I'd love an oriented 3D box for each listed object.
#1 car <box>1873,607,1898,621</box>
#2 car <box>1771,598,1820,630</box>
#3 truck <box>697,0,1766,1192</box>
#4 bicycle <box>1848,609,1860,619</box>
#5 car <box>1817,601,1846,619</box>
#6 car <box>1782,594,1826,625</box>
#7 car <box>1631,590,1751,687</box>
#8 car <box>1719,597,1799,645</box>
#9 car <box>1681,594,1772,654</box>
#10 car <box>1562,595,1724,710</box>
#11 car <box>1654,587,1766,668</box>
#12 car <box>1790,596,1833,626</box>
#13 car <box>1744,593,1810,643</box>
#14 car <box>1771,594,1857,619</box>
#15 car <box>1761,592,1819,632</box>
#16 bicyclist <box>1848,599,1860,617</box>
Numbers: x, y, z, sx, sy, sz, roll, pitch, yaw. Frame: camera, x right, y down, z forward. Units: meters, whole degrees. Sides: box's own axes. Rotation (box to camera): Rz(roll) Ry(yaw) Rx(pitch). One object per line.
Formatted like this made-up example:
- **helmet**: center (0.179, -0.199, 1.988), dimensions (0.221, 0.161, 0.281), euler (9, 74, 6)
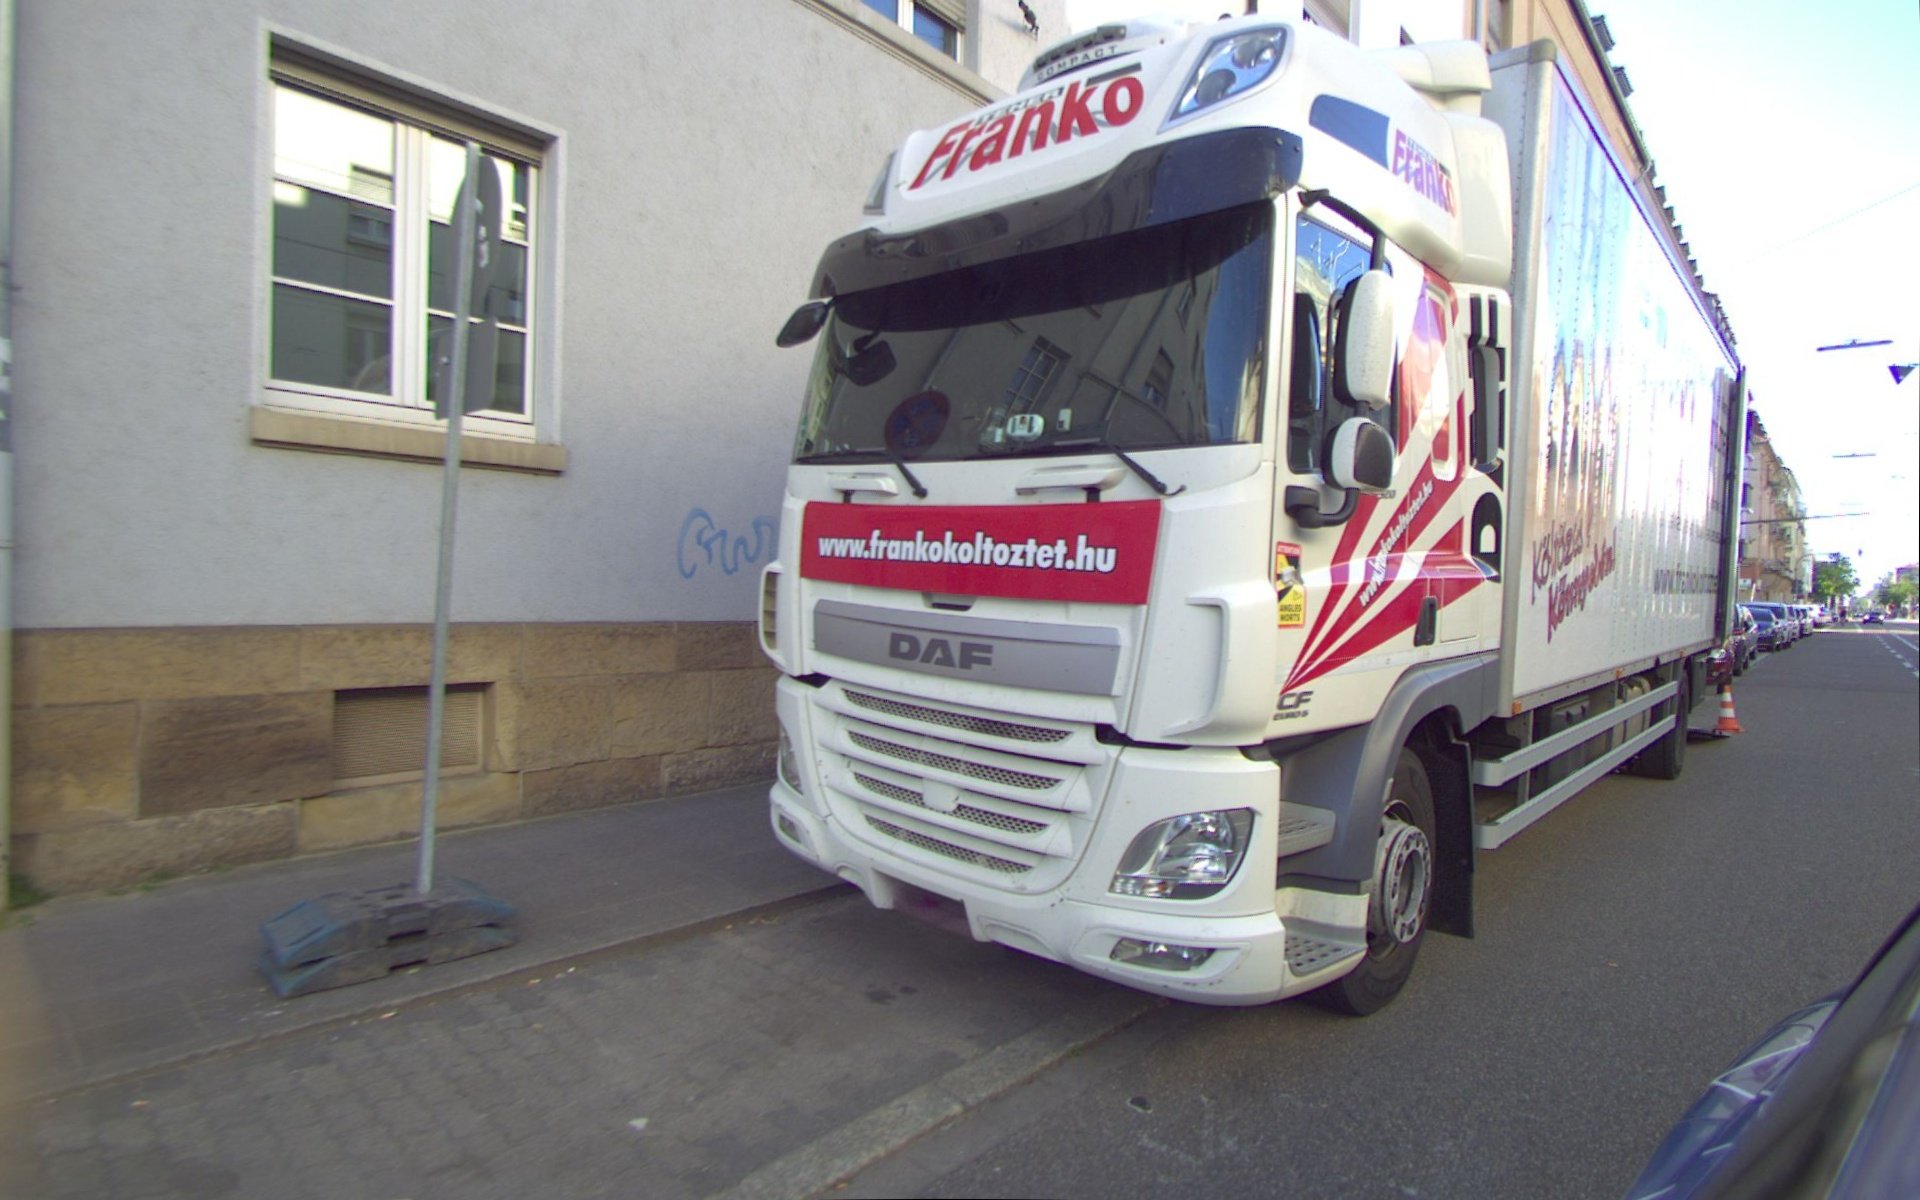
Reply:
- **car**: center (102.906, 1.545, 112.520), dimensions (1.856, 1.394, 3.935), euler (2, 1, 45)
- **car**: center (43.048, 0.683, 52.105), dimensions (1.698, 1.524, 3.803), euler (2, 1, 43)
- **truck**: center (3.823, -0.661, 7.729), dimensions (2.859, 4.124, 11.598), euler (2, 1, 42)
- **bicycle**: center (78.310, 1.230, 88.658), dimensions (0.741, 0.866, 1.857), euler (2, 1, 41)
- **car**: center (86.324, 0.963, 100.246), dimensions (1.993, 1.660, 3.938), euler (3, 2, 42)
- **car**: center (46.511, 0.509, 55.770), dimensions (1.698, 1.610, 3.900), euler (2, 1, 42)
- **car**: center (14.278, 0.660, 19.679), dimensions (1.590, 1.629, 4.186), euler (3, 2, 39)
- **car**: center (27.327, 0.679, 34.568), dimensions (1.700, 1.470, 4.139), euler (3, 2, 44)
- **car**: center (21.027, 0.611, 27.714), dimensions (1.609, 1.481, 3.425), euler (3, 2, 43)
- **car**: center (10.604, 0.708, 15.597), dimensions (1.581, 1.481, 3.823), euler (3, 2, 41)
- **car**: center (17.761, 0.575, 23.900), dimensions (1.788, 1.672, 4.302), euler (3, 2, 40)
- **car**: center (50.960, 0.636, 60.547), dimensions (1.700, 1.609, 3.302), euler (6, 4, 43)
- **car**: center (31.498, 0.653, 38.954), dimensions (1.708, 1.714, 4.520), euler (3, 2, 42)
- **car**: center (60.355, 0.433, 71.579), dimensions (1.736, 1.627, 4.303), euler (1, 1, -22)
- **car**: center (39.340, 0.546, 47.934), dimensions (1.700, 1.719, 4.120), euler (4, 2, 44)
- **bicyclist**: center (78.370, 0.718, 88.684), dimensions (0.741, 1.508, 0.804), euler (1, 1, 42)
